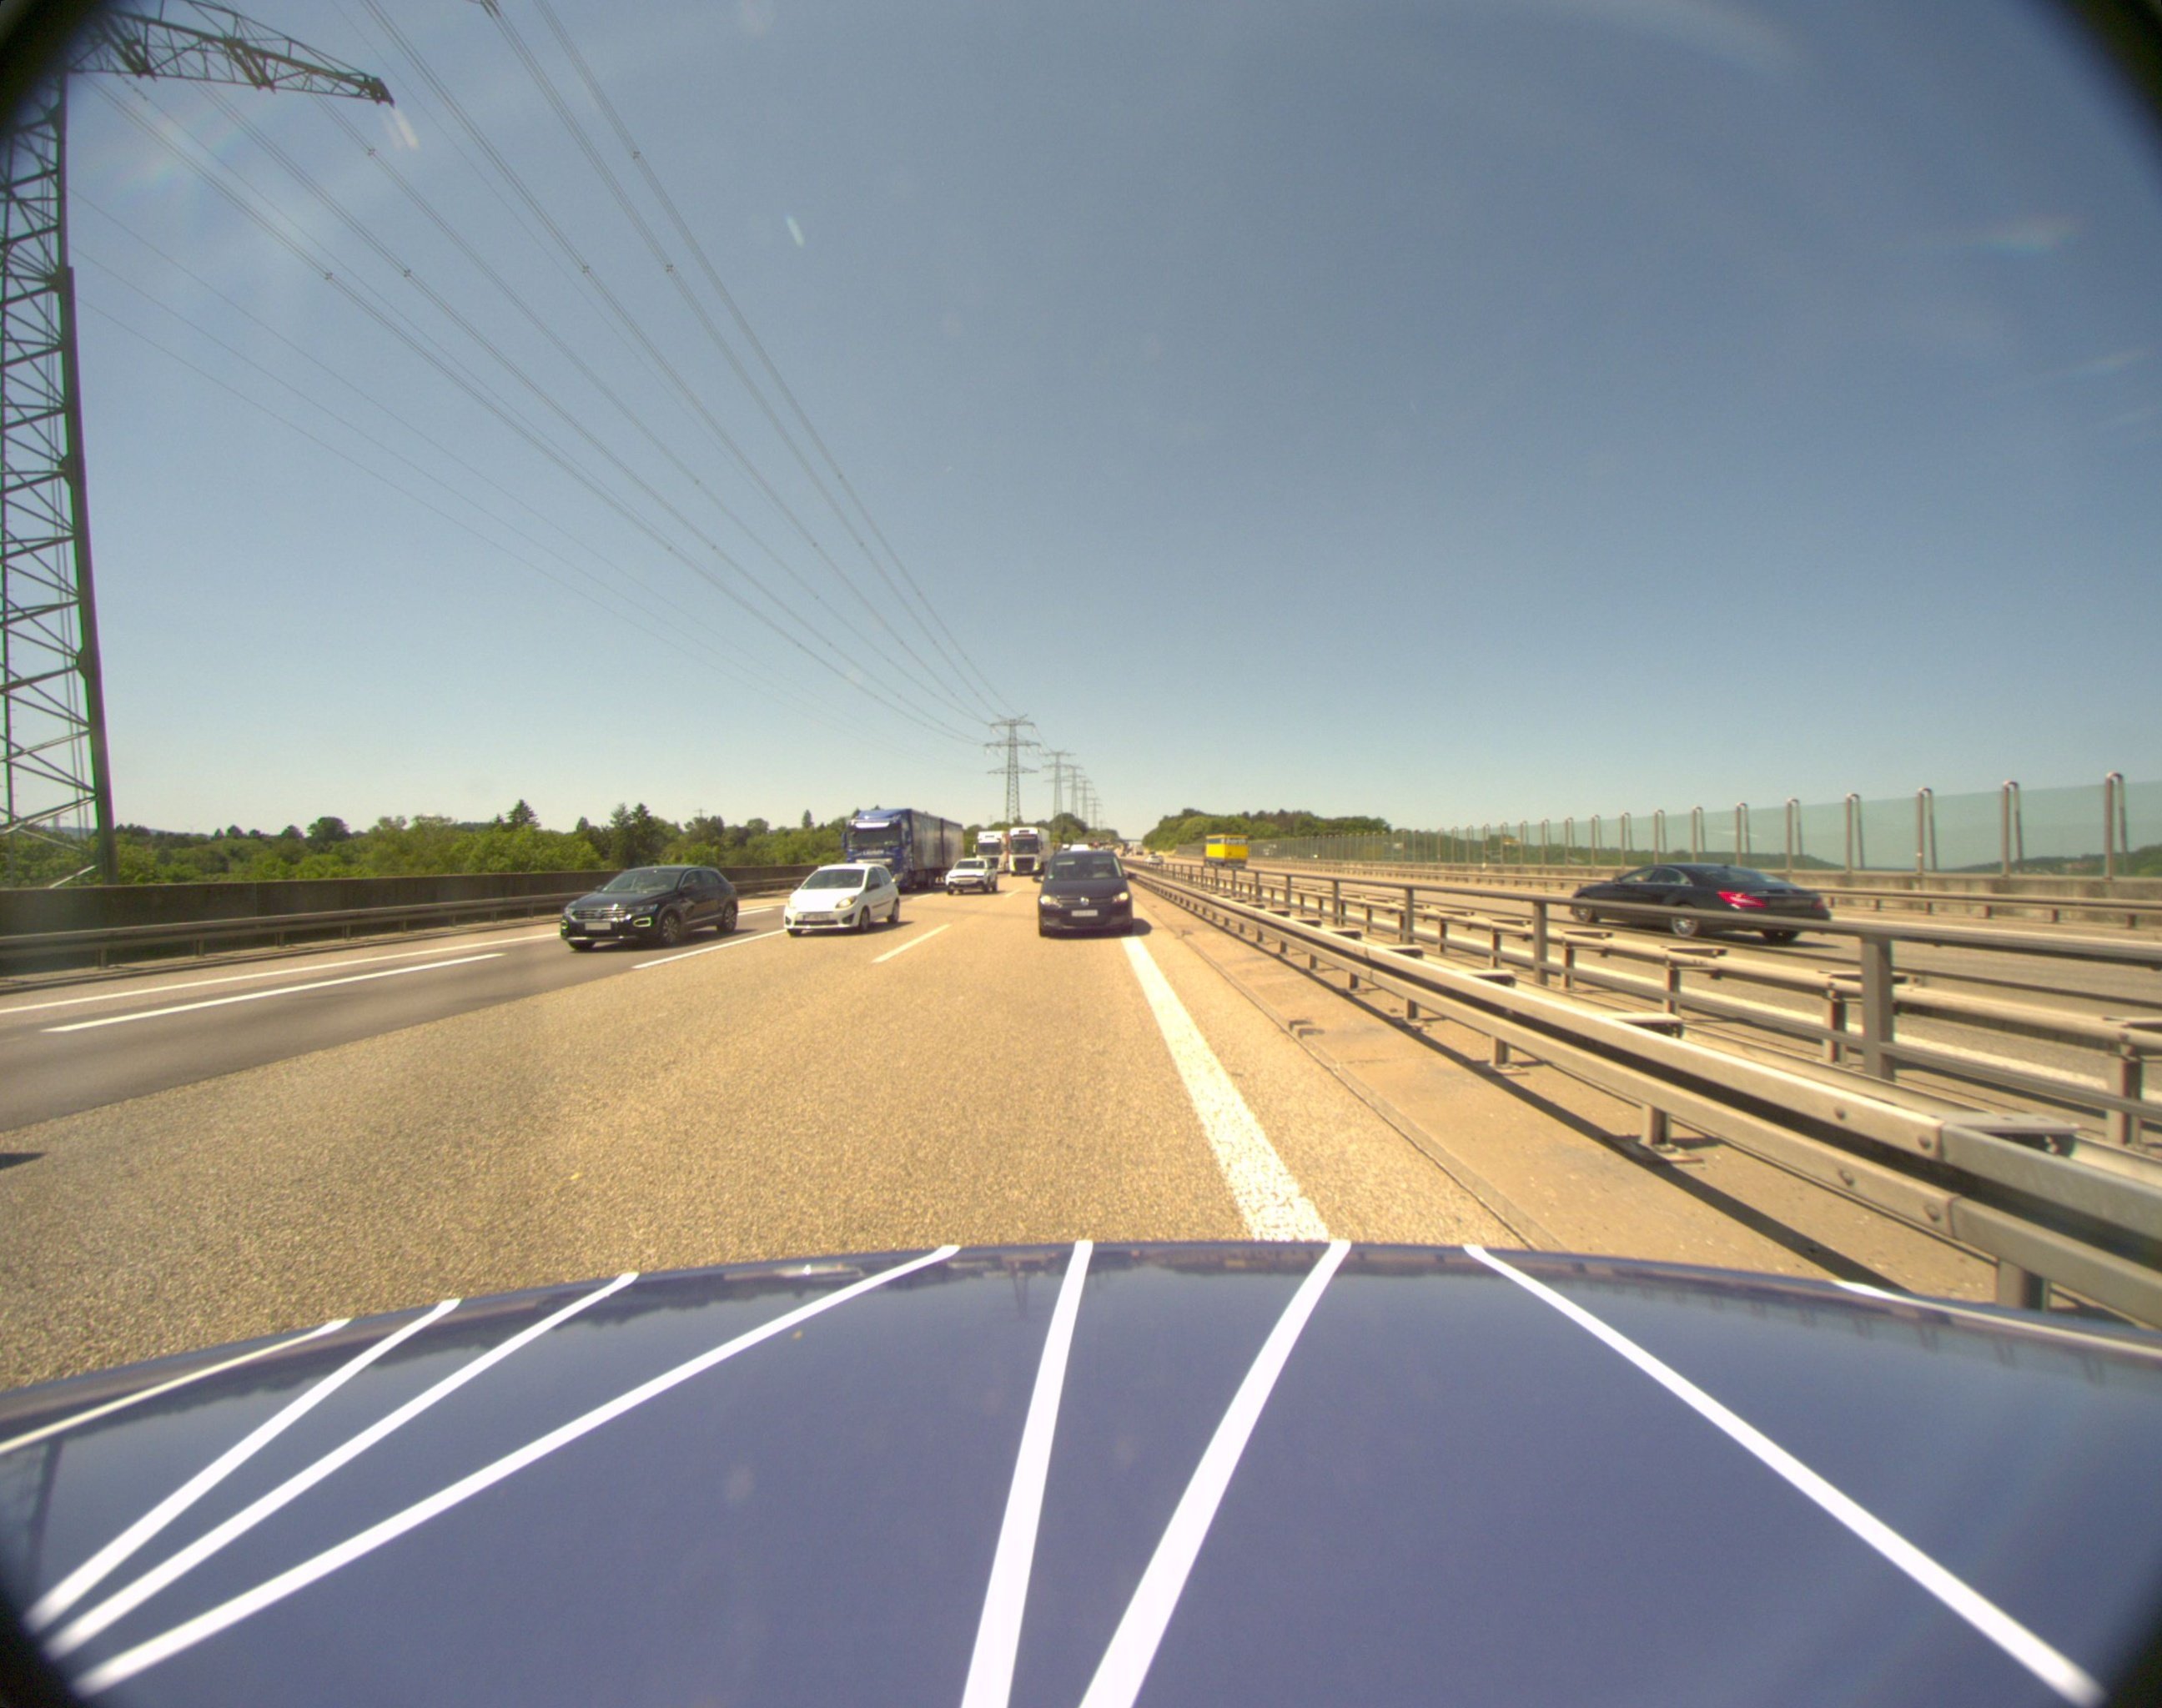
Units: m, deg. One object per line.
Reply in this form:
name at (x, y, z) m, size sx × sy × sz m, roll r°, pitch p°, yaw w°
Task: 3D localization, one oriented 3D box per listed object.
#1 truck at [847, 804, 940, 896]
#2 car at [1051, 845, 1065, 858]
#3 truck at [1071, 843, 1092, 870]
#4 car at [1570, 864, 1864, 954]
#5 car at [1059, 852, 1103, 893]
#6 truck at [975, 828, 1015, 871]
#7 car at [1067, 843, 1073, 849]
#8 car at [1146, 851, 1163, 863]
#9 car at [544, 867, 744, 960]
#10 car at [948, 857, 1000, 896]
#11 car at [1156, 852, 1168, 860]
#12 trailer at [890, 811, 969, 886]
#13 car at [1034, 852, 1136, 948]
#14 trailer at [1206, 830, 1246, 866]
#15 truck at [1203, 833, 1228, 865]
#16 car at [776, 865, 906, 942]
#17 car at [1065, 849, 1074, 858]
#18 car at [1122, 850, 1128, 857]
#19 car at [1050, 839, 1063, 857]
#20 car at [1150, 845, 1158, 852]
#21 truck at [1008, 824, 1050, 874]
truck at (-8.895, -0.183, 37.032) m, size 2.517 × 3.945 × 7.926 m, roll -2°, pitch 0°, yaw -1°
car at (-3.618, -0.365, 122.076) m, size 1.998 × 2.002 × 3.999 m, roll -2°, pitch 1°, yaw 1°
truck at (0.080, 0.197, 80.291) m, size 2.100 × 2.700 × 5.864 m, roll -2°, pitch 1°, yaw 1°
car at (11.977, 0.939, 14.847) m, size 1.860 × 1.389 × 4.675 m, roll 0°, pitch 0°, yaw 1°
car at (-0.001, 0.735, 32.157) m, size 1.685 × 1.607 × 3.642 m, roll -2°, pitch 0°, yaw 0°
truck at (-8.198, -0.459, 73.180) m, size 2.914 × 3.869 × 6.739 m, roll -2°, pitch 1°, yaw 0°
car at (-3.503, -2.456, 235.888) m, size 1.701 × 1.599 × 3.639 m, roll -2°, pitch 1°, yaw 1°
car at (9.832, 0.377, 101.653) m, size 1.762 × 1.440 × 4.286 m, roll 1°, pitch 0°, yaw 0°
car at (-8.522, 1.075, 15.272) m, size 1.709 × 1.497 × 3.888 m, roll -2°, pitch 0°, yaw 0°
car at (-4.598, 0.925, 33.172) m, size 1.722 × 1.526 × 3.753 m, roll -2°, pitch 0°, yaw 0°
car at (14.826, 0.338, 139.711) m, size 1.767 × 1.374 × 4.078 m, roll 1°, pitch 0°, yaw 0°
trailer at (-8.996, -0.356, 46.428) m, size 2.543 × 3.971 × 10.883 m, roll -2°, pitch 1°, yaw 0°
car at (0.060, 0.797, 15.177) m, size 1.739 × 1.607 × 3.911 m, roll -2°, pitch 0°, yaw 0°
trailer at (17.196, -0.680, 91.029) m, size 2.428 × 4.040 × 13.802 m, roll 0°, pitch 0°, yaw 1°
truck at (17.391, -0.702, 98.415) m, size 2.420 × 4.035 × 5.542 m, roll 1°, pitch 1°, yaw 1°
car at (-5.237, 1.026, 17.072) m, size 1.583 × 1.432 × 3.630 m, roll -2°, pitch 0°, yaw 2°
car at (-2.244, -0.072, 154.431) m, size 1.701 × 1.599 × 3.639 m, roll -2°, pitch 1°, yaw 1°
car at (13.833, -0.113, 237.892) m, size 1.584 × 2.002 × 3.546 m, roll 0°, pitch 0°, yaw 1°
car at (-4.555, -1.119, 142.267) m, size 2.273 × 3.303 × 6.288 m, roll -2°, pitch 1°, yaw 0°
car at (21.406, -1.727, 222.782) m, size 2.021 × 2.002 × 3.968 m, roll -2°, pitch 1°, yaw 1°
truck at (-4.297, -0.425, 63.869) m, size 2.914 × 3.869 × 6.739 m, roll -2°, pitch 1°, yaw 0°
